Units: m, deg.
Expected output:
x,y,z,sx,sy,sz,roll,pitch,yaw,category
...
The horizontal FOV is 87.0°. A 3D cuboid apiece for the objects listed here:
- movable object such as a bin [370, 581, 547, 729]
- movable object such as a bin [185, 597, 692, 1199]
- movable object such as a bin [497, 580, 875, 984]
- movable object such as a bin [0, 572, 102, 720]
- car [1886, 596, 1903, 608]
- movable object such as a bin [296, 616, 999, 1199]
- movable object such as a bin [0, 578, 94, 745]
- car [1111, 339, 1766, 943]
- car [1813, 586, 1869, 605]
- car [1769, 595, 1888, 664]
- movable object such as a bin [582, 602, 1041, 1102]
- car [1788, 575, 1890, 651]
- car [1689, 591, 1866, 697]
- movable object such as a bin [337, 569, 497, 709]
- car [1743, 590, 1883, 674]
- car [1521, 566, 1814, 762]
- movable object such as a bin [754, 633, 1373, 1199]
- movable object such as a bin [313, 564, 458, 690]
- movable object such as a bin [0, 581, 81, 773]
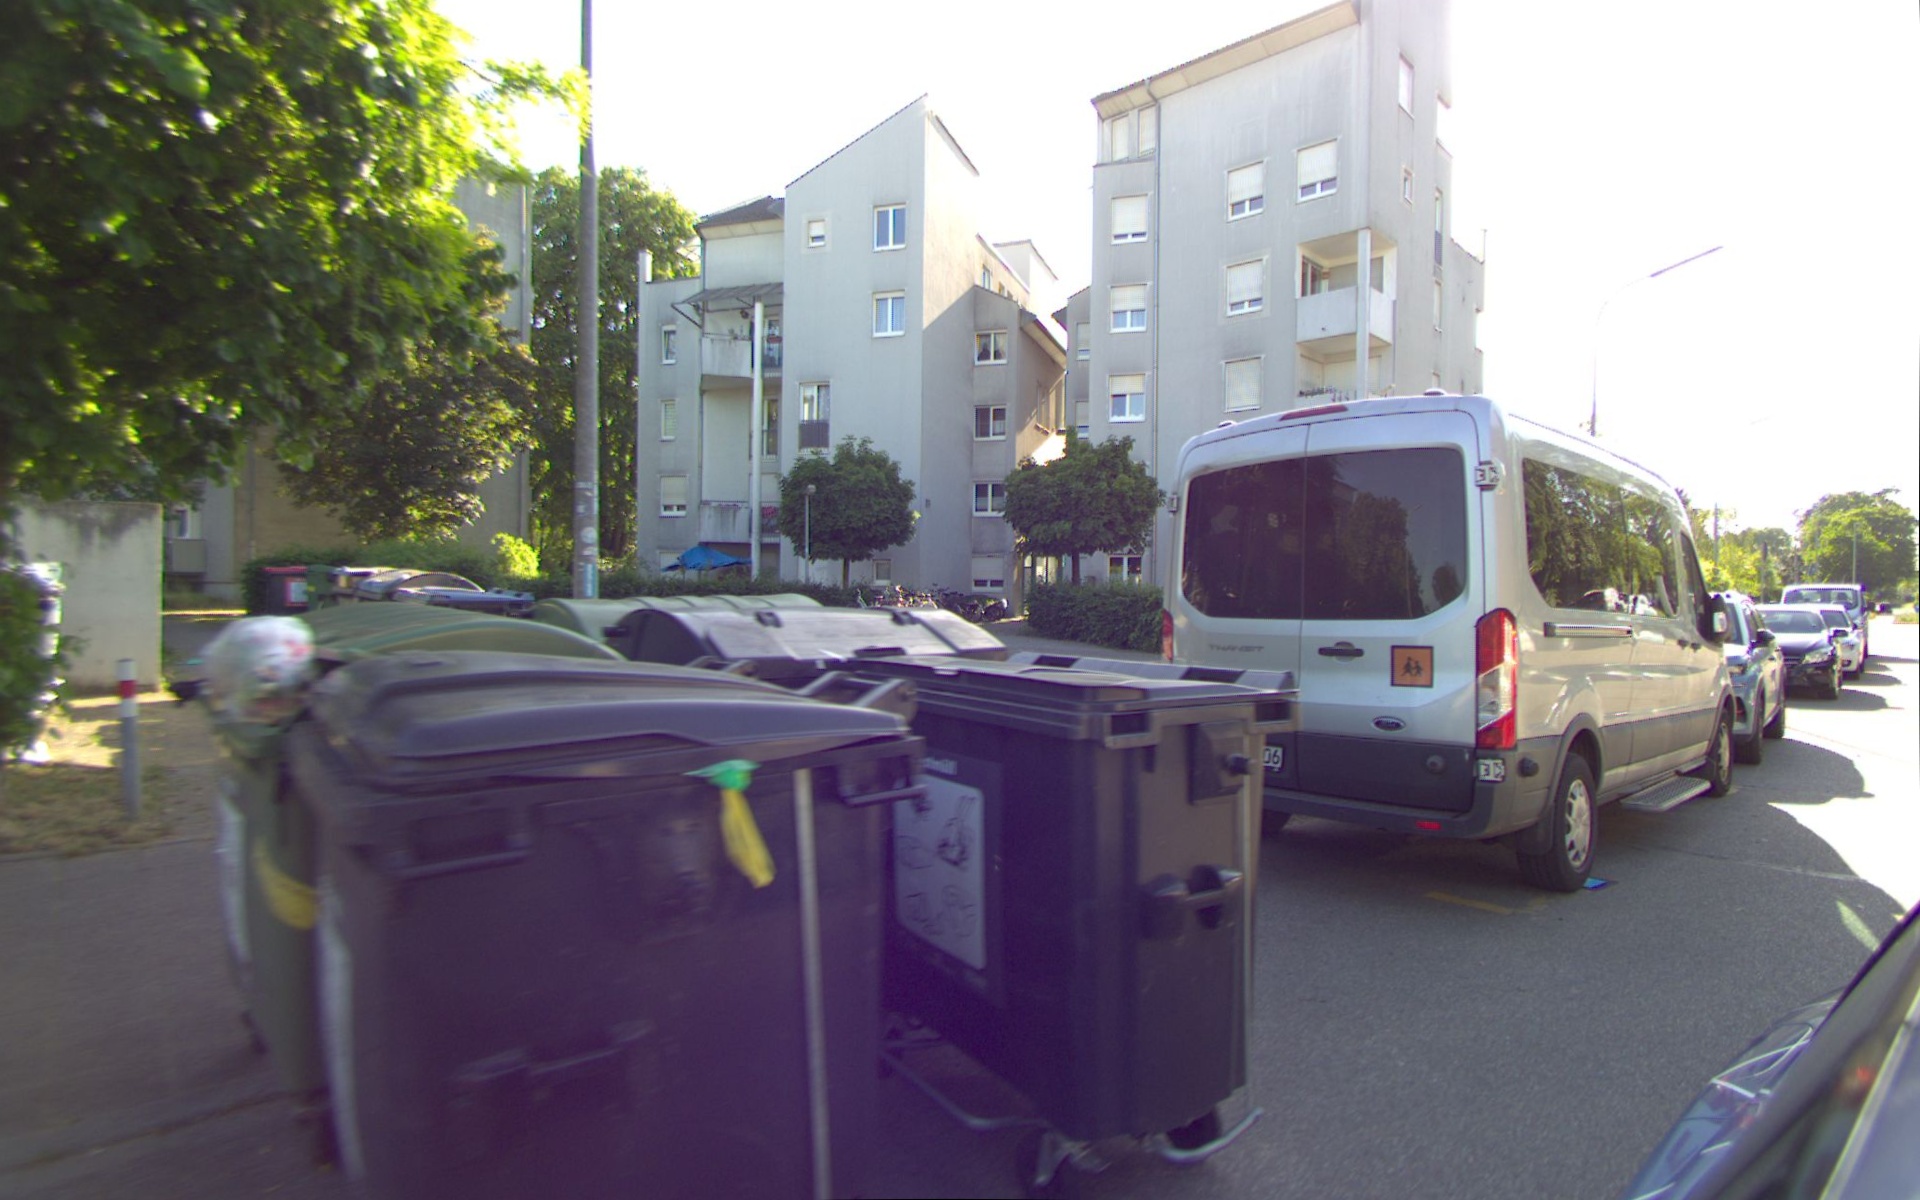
x,y,z,sx,sy,sz,roll,pitch,yaw,category
-5.103,0.491,10.265,1.356,1.321,1.417,0,2,-38,movable object such as a bin
-1.572,0.740,3.062,1.148,1.466,1.095,-1,0,-35,movable object such as a bin
-1.257,0.675,4.630,1.392,1.465,1.045,-2,4,-35,movable object such as a bin
-9.223,0.406,9.766,1.356,1.321,1.417,0,2,-38,movable object such as a bin
147.812,0.244,160.056,1.993,1.838,3.938,2,2,43,car
-0.747,0.773,2.191,1.147,1.414,1.233,0,1,-34,movable object such as a bin
-8.330,0.485,8.628,1.356,1.321,1.417,0,2,-38,movable object such as a bin
3.674,0.152,6.966,5.757,2.518,2.107,0,0,-43,car
83.706,-0.441,96.141,3.588,1.738,1.745,1,1,8,car
21.018,0.628,24.520,1.992,1.435,4.850,2,2,41,car
-0.565,0.737,3.767,1.333,1.438,1.111,1,-1,-35,movable object such as a bin
24.903,0.300,28.625,1.993,1.936,4.877,2,2,42,car
13.756,0.623,16.939,1.910,1.507,4.305,2,2,44,car
-6.089,0.382,11.327,1.356,1.390,1.431,0,3,-38,movable object such as a bin
17.768,0.574,21.001,1.910,1.507,4.305,2,2,44,car
7.762,0.515,10.922,1.910,1.687,4.305,2,2,44,car
0.217,0.812,2.814,1.100,1.330,1.274,3,1,-34,movable object such as a bin
-7.065,0.288,12.427,1.356,1.390,1.431,0,3,-38,movable object such as a bin
-7.449,0.534,7.468,1.356,1.321,1.417,0,2,-38,movable object such as a bin
